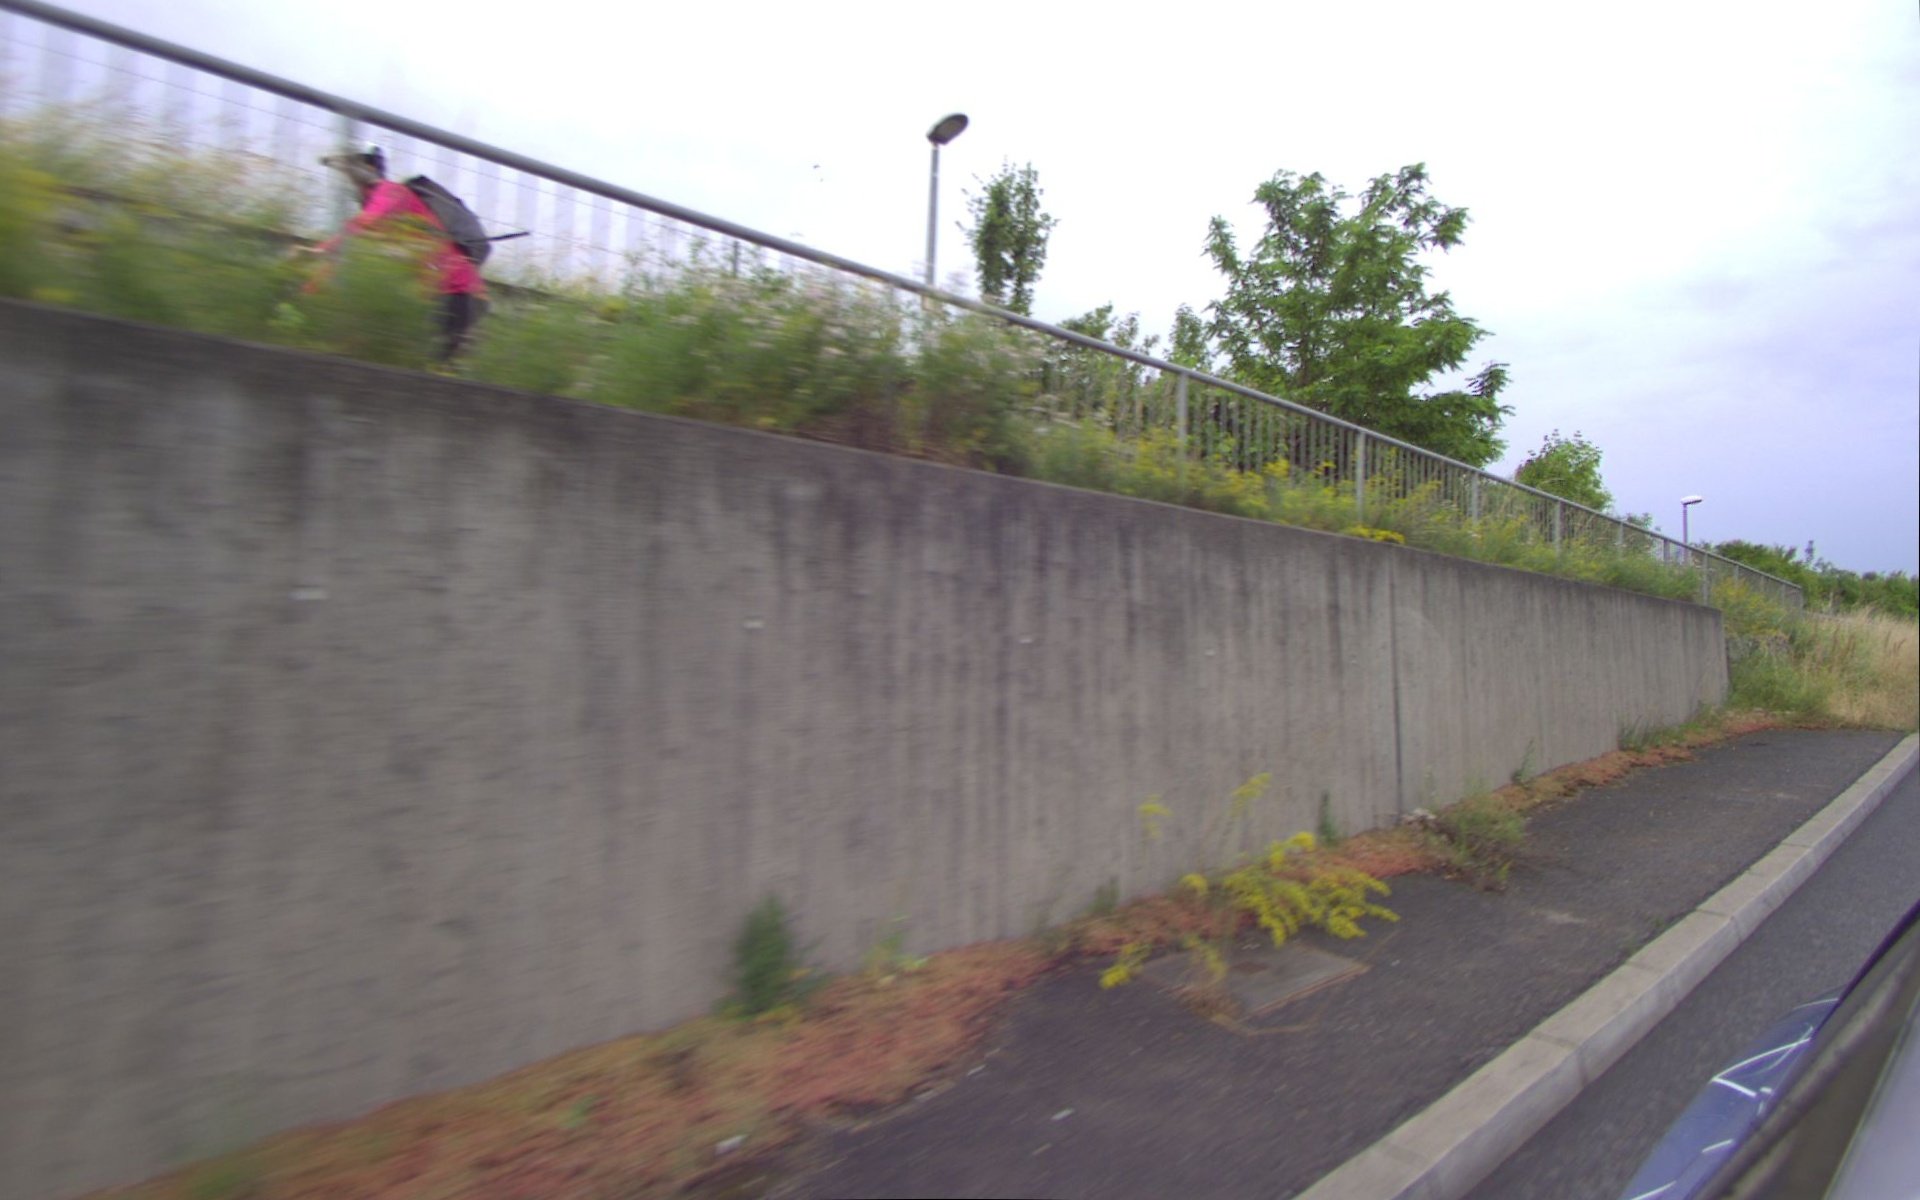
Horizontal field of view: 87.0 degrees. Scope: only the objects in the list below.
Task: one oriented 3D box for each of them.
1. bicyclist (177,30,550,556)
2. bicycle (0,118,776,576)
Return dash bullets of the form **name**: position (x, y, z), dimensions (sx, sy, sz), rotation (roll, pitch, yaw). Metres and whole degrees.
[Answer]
- **bicyclist**: position (-2.741, -1.254, 4.709), dimensions (1.271, 1.934, 0.870), rotation (4, -6, -42)
- **bicycle**: position (-2.593, -0.931, 4.815), dimensions (3.426, 1.305, 0.870), rotation (5, -7, -42)
